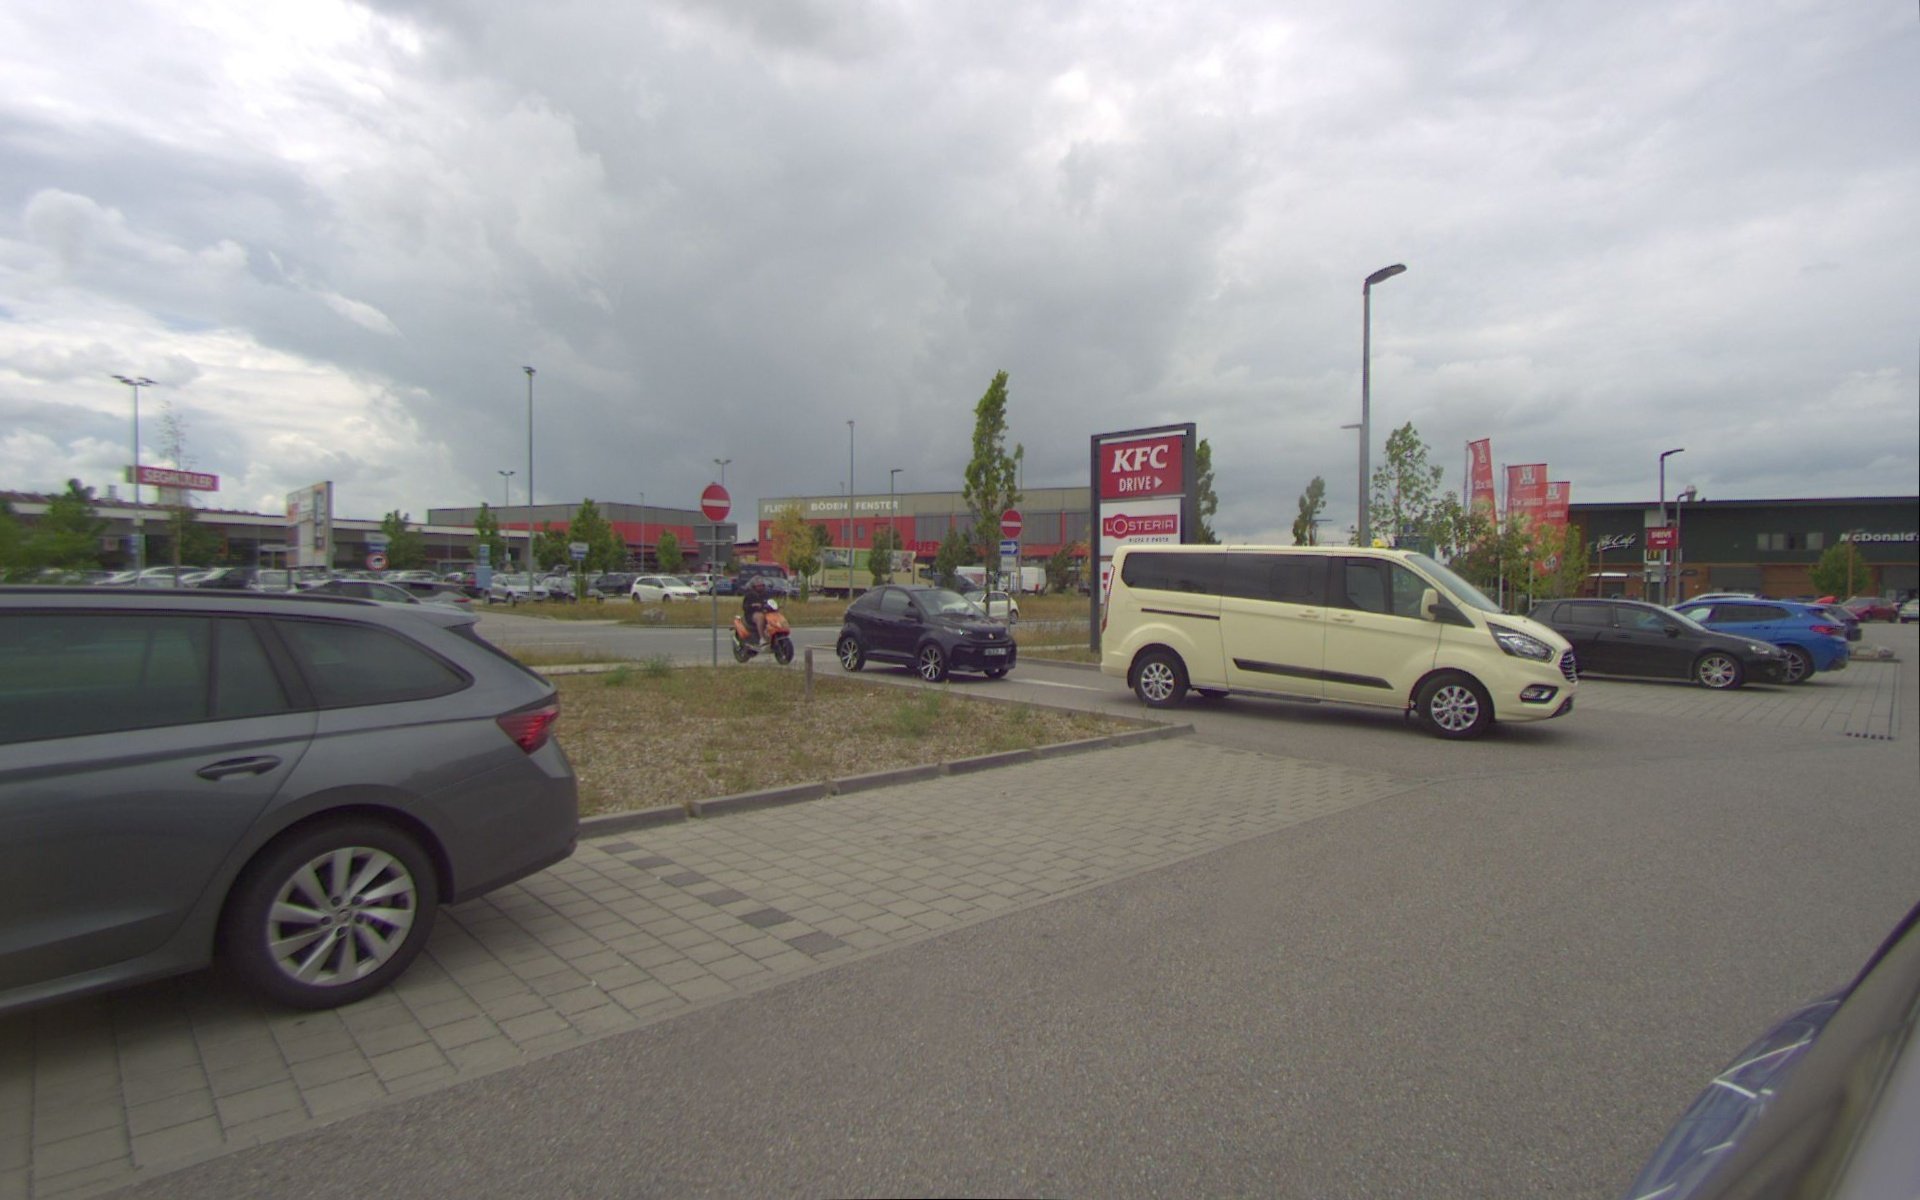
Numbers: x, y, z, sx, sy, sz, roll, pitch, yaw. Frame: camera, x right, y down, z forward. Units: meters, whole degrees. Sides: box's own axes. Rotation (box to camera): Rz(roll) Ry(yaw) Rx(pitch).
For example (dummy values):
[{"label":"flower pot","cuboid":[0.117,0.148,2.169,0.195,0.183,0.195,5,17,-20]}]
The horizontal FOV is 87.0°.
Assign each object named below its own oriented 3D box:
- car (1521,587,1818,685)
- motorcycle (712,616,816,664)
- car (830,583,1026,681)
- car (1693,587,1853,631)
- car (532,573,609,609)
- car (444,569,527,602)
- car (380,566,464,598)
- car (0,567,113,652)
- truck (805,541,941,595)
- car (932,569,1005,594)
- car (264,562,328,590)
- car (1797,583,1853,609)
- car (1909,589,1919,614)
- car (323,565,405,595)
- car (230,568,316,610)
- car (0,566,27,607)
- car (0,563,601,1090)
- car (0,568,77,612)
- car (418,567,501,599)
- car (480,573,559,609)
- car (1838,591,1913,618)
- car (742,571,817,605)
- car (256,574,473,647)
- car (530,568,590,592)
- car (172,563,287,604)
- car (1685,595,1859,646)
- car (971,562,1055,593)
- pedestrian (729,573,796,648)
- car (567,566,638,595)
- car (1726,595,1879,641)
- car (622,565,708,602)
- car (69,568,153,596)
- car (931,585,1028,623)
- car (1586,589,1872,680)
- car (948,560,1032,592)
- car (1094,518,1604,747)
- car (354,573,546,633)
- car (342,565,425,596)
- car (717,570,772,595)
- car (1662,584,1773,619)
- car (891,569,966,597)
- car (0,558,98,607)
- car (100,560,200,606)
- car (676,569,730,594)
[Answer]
[{"label":"car","cuboid":[12.530,0.557,18.060,1.746,1.478,4.066,1,1,-43]},{"label":"motorcycle","cuboid":[-3.498,0.690,17.957,2.020,0.783,0.804,-1,0,44]},{"label":"car","cuboid":[-0.575,0.428,16.042,1.441,1.353,3.158,0,1,-41]},{"label":"car","cuboid":[30.406,0.355,38.052,4.516,1.560,1.901,-1,-1,35]},{"label":"car","cuboid":[-18.872,-0.444,48.970,4.036,1.558,1.747,3,2,39]},{"label":"car","cuboid":[-28.251,-0.860,60.383,1.982,1.860,4.145,2,2,29]},{"label":"car","cuboid":[-33.086,-1.130,62.318,1.982,1.860,4.145,2,2,29]},{"label":"car","cuboid":[-18.277,0.163,18.415,1.850,1.518,4.218,1,1,43]},{"label":"truck","cuboid":[-5.667,-2.061,66.174,8.258,3.235,3.035,1,2,-26]},{"label":"car","cuboid":[0.642,-1.379,75.231,5.020,1.659,2.059,2,1,27]},{"label":"car","cuboid":[-39.695,-1.451,60.481,4.139,1.558,1.973,3,2,38]},{"label":"car","cuboid":[65.370,-0.291,76.484,3.919,1.771,2.003,2,1,-30]},{"label":"car","cuboid":[55.448,0.109,56.814,4.368,1.430,1.756,1,0,-27]},{"label":"car","cuboid":[-38.436,-1.275,65.341,1.982,1.860,4.145,2,2,29]},{"label":"car","cuboid":[-27.746,-0.475,40.854,3.742,1.558,1.749,3,2,36]},{"label":"car","cuboid":[-45.923,-0.647,46.460,1.982,1.860,4.145,2,2,29]},{"label":"car","cuboid":[-3.609,0.637,3.173,1.751,1.488,4.406,0,0,43]},{"label":"car","cuboid":[-41.560,-0.459,44.185,1.982,1.860,4.145,2,2,29]},{"label":"car","cuboid":[-30.466,-1.041,61.714,1.982,1.860,4.145,2,2,29]},{"label":"car","cuboid":[-20.711,-0.447,47.539,4.036,1.558,1.747,3,2,39]},{"label":"car","cuboid":[52.747,0.242,58.291,3.916,1.483,1.690,1,0,-22]},{"label":"car","cuboid":[-10.527,-0.706,58.880,4.301,1.793,1.904,3,2,39]},{"label":"car","cuboid":[-13.414,0.195,22.935,3.935,1.477,1.826,0,2,-45]},{"label":"car","cuboid":[-31.775,-1.570,80.428,1.982,1.860,4.145,2,2,29]},{"label":"car","cuboid":[-35.927,-0.804,49.864,1.982,1.860,4.145,2,2,29]},{"label":"car","cuboid":[24.191,0.606,30.257,3.921,1.430,1.813,-1,-1,41]},{"label":"car","cuboid":[4.281,-1.860,81.990,6.436,2.295,2.326,2,2,24]},{"label":"pedestrian","cuboid":[-3.501,0.181,17.968,0.895,1.298,0.794,0,0,43]},{"label":"car","cuboid":[-23.397,-1.259,66.408,1.980,1.793,4.282,2,2,26]},{"label":"car","cuboid":[27.818,0.607,33.588,3.786,1.430,1.715,-1,-1,37]},{"label":"car","cuboid":[-15.519,-0.876,53.197,4.287,1.793,1.978,3,2,32]},{"label":"car","cuboid":[-60.766,-1.292,72.501,1.982,1.860,4.145,2,2,29]},{"label":"car","cuboid":[0.862,0.190,42.416,1.749,1.510,4.064,1,-1,44]},{"label":"car","cuboid":[14.704,0.569,19.502,1.834,1.564,4.204,0,1,-44]},{"label":"car","cuboid":[2.286,-1.818,77.639,6.000,2.242,2.394,2,1,27]},{"label":"car","cuboid":[4.305,0.246,11.792,5.206,2.112,1.971,2,1,40]},{"label":"car","cuboid":[-13.825,0.097,27.623,4.376,1.510,1.615,1,-1,-44]},{"label":"car","cuboid":[-36.427,-1.206,64.047,1.982,1.860,4.145,2,2,29]},{"label":"car","cuboid":[-15.895,-1.301,74.744,1.978,1.793,4.110,2,2,23]},{"label":"car","cuboid":[39.400,0.099,52.800,4.332,1.735,1.972,-1,-1,29]},{"label":"car","cuboid":[-2.255,-1.206,71.426,5.031,1.908,2.054,1,0,32]},{"label":"car","cuboid":[-32.253,-0.649,35.688,4.031,1.558,1.974,3,2,36]},{"label":"car","cuboid":[-30.340,-0.670,37.901,4.031,1.558,1.974,3,2,36]},{"label":"car","cuboid":[-19.227,-1.383,75.891,1.977,1.793,3.971,2,2,22]}]
